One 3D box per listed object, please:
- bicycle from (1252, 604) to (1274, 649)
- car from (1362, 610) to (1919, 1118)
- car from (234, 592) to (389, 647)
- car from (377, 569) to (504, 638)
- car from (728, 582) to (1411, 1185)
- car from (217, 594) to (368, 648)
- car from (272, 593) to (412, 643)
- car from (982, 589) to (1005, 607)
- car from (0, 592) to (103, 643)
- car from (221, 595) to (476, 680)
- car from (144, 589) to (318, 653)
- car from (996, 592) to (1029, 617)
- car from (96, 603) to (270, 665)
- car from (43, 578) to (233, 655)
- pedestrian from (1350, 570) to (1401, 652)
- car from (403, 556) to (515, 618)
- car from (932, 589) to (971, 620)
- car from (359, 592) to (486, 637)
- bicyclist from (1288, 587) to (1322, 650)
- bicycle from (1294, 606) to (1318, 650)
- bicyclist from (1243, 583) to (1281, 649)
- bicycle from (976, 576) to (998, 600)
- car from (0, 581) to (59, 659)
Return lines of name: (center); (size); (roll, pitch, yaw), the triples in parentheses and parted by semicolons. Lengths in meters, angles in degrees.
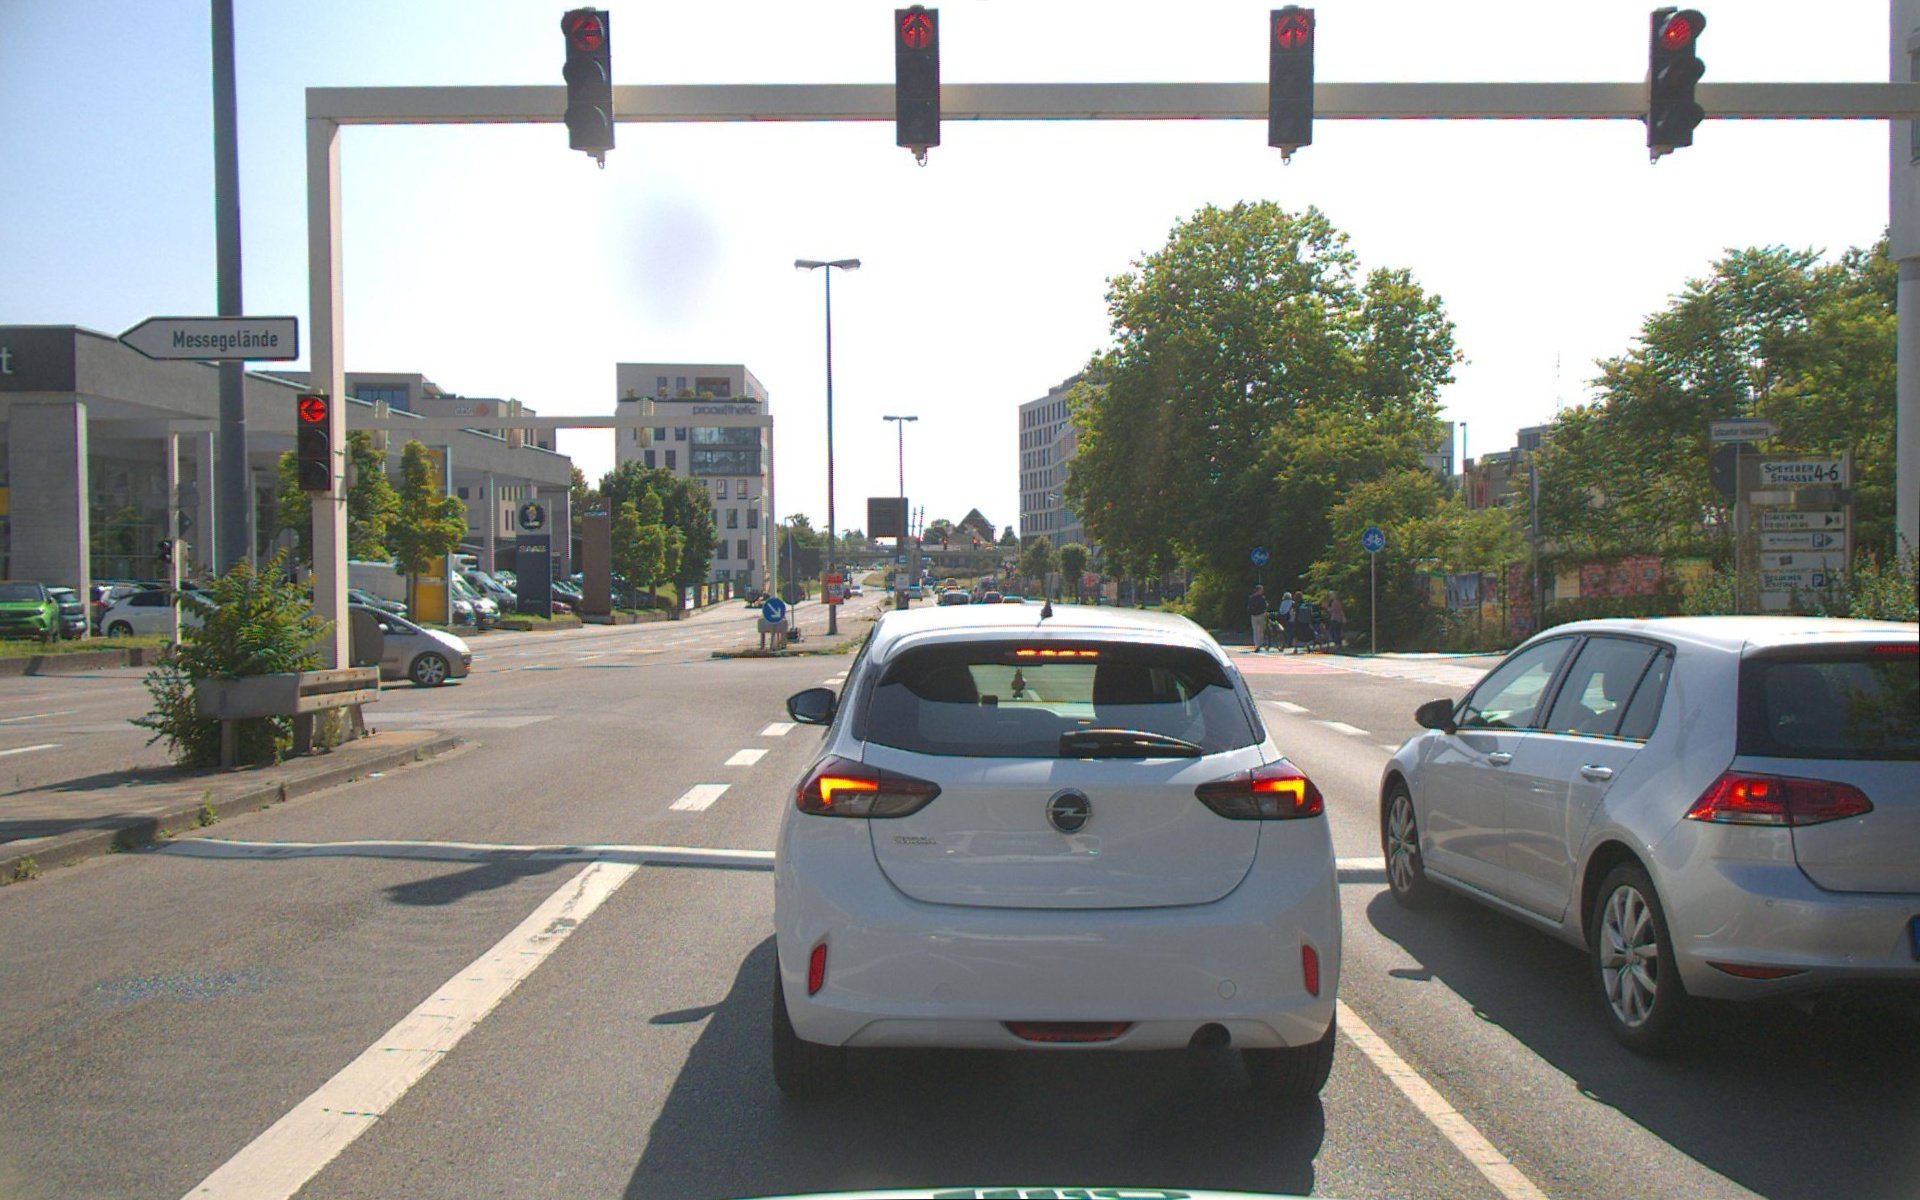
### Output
bicycle: (8.471, 0.729, 46.267); (0.365, 1.238, 1.153); (1, 0, -1)
car: (3.114, 0.777, 6.853); (1.771, 1.454, 3.998); (0, 0, -3)
car: (-21.016, 0.612, 53.760); (4.270, 1.726, 1.999); (0, 0, -3)
car: (-21.136, 0.138, 67.404); (4.401, 2.731, 2.130); (0, 0, 8)
car: (0.251, 0.714, 6.239); (1.743, 1.520, 3.999); (0, 0, -1)
car: (-22.526, 0.696, 55.942); (4.270, 1.726, 1.999); (-1, 0, -4)
car: (-22.059, 0.626, 59.167); (4.270, 1.726, 1.999); (-1, 0, -4)
car: (2.721, -0.161, 135.326); (1.769, 1.410, 3.999); (1, -1, -1)
car: (-26.263, 0.528, 45.520); (4.276, 1.290, 1.996); (-2, -1, -9)
car: (-10.360, 0.640, 28.294); (3.926, 1.355, 1.989); (1, -1, -19)
car: (-21.374, 0.592, 48.618); (4.211, 1.796, 1.999); (-1, 0, -4)
car: (3.171, 0.285, 100.735); (1.769, 1.410, 3.999); (1, -1, -1)
car: (-21.497, 0.925, 45.905); (3.912, 1.627, 1.997); (-1, 0, -8)
car: (-20.729, 0.398, 41.835); (3.793, 1.870, 1.999); (-1, 0, -4)
pedestrian: (10.471, 0.276, 41.698); (1.006, 2.049, 1.038); (0, 0, -1)
car: (-21.982, -0.583, 72.704); (4.265, 2.646, 2.001); (0, 0, 4)
car: (-0.454, 0.240, 84.484); (1.770, 1.410, 3.997); (2, -2, -3)
car: (-21.065, 0.555, 64.956); (4.265, 1.726, 2.001); (-1, 0, 4)
bicyclist: (9.334, 0.501, 44.771); (0.675, 1.672, 0.775); (0, 0, -9)
bicycle: (9.346, 0.750, 44.683); (0.366, 1.167, 1.034); (1, -1, -3)
bicyclist: (8.446, 0.444, 46.273); (0.861, 1.803, 0.863); (0, 0, -1)
bicycle: (2.542, -1.117, 155.382); (1.953, 2.195, 3.999); (0, 0, -1)
car: (-22.559, 0.488, 38.941); (1.887, 1.764, 3.250); (-1, -1, -37)
